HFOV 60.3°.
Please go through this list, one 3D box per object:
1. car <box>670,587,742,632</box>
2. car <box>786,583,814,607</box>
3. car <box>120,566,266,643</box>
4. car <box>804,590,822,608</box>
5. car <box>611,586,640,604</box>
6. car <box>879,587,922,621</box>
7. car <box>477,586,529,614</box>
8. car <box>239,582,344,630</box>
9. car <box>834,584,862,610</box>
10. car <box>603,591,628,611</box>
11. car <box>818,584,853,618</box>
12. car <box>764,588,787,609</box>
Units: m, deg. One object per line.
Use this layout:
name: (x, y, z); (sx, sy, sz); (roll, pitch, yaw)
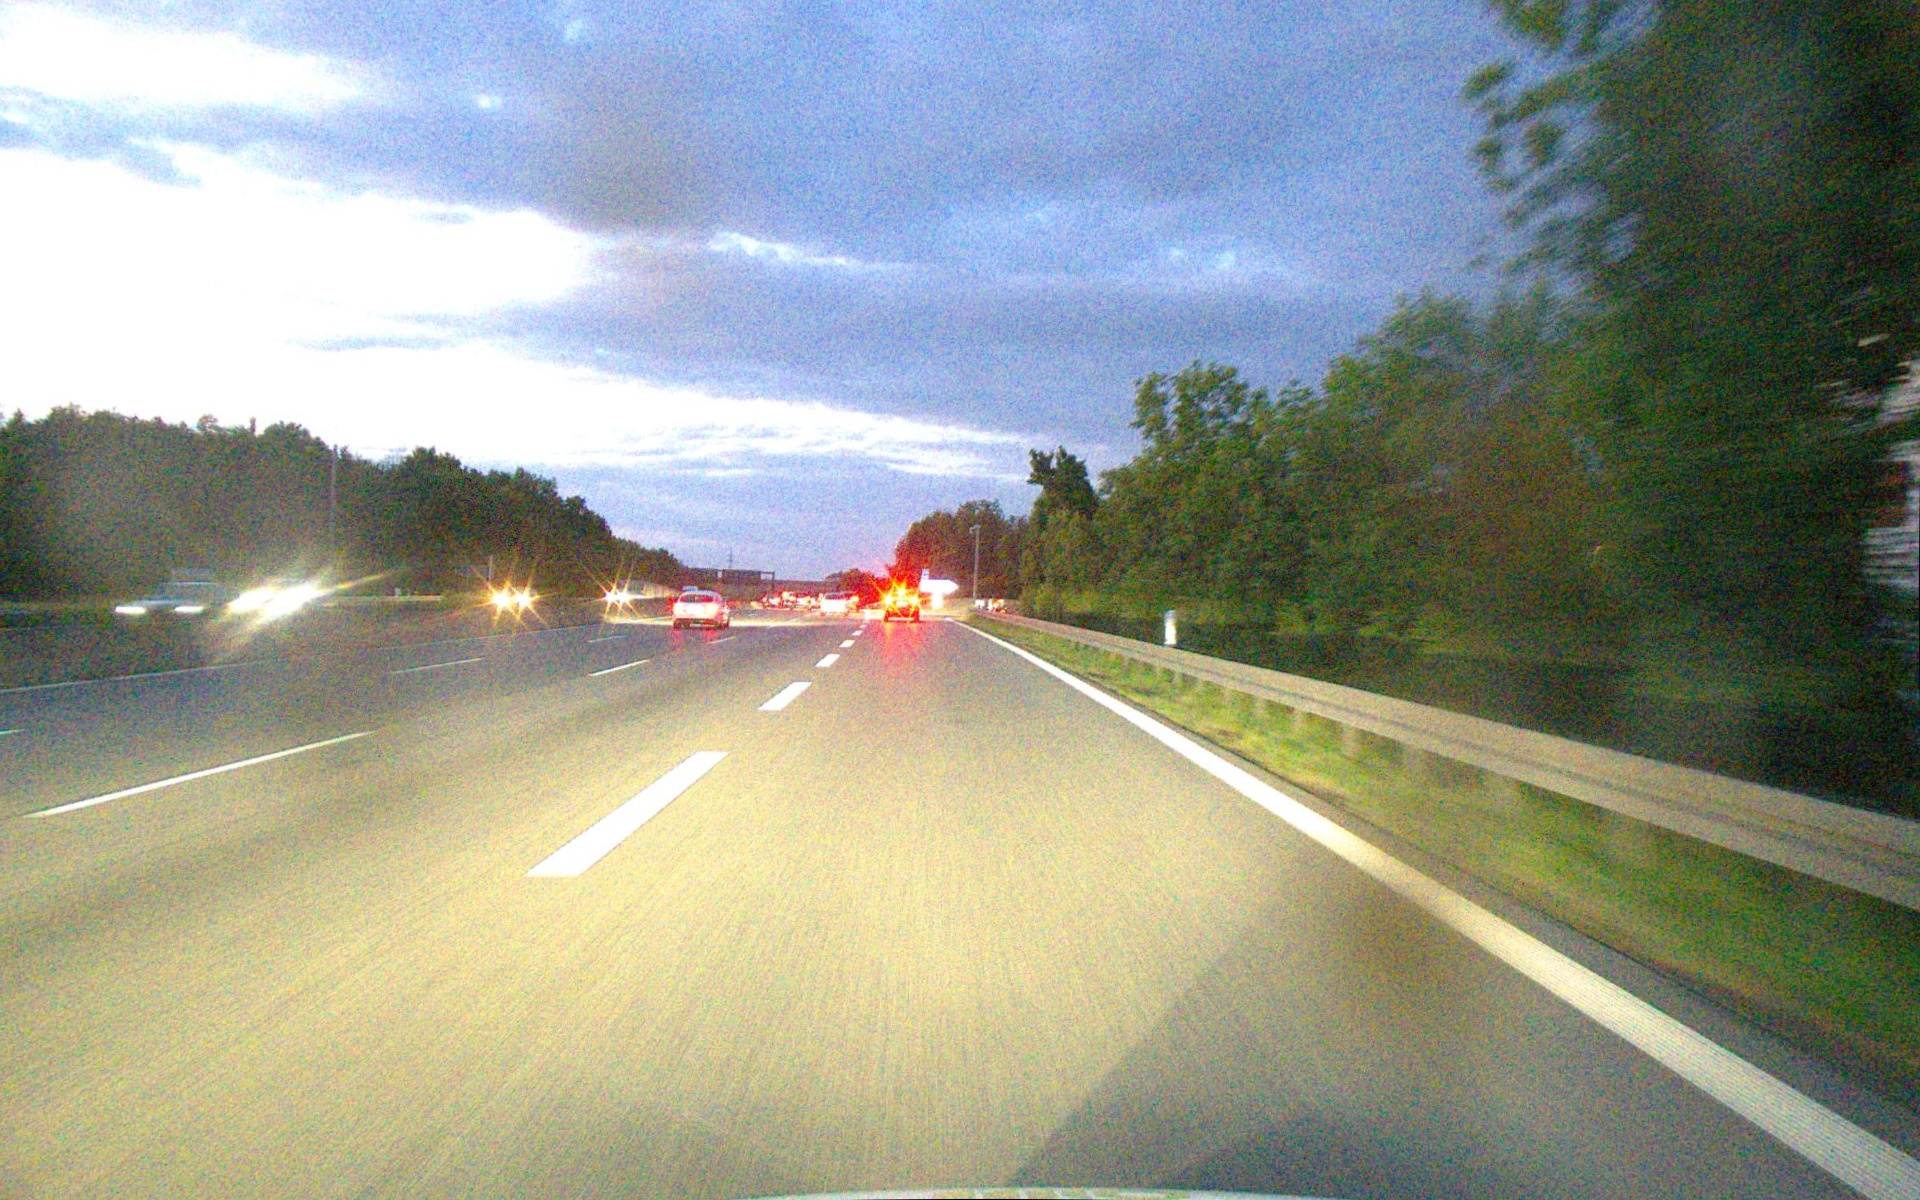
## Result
car: (-9.794, 0.353, 64.109); (1.952, 1.671, 4.556); (0, 0, 2)
car: (-13.809, -0.410, 142.710); (2.029, 2.049, 4.000); (0, 0, -1)
car: (-21.286, 0.109, 46.117); (1.953, 2.049, 4.488); (0, 0, 0)
car: (-16.599, -0.119, 186.341); (1.955, 2.049, 3.994); (1, 0, -7)
car: (-30.857, -0.441, 152.513); (1.953, 1.573, 3.998); (1, 0, -2)
car: (-3.056, 0.200, 84.673); (1.955, 1.688, 4.310); (1, 0, -5)
car: (-27.827, -0.022, 100.920); (1.953, 1.638, 4.558); (0, 0, -1)
car: (-24.745, 0.217, 61.419); (1.953, 1.694, 5.009); (0, 0, -2)
car: (-8.793, -0.249, 129.780); (1.953, 2.049, 3.999); (0, 0, -1)
car: (-35.510, 0.063, 170.369); (1.987, 2.049, 4.235); (1, 0, -5)
car: (-7.640, 0.072, 101.655); (1.953, 2.049, 3.999); (1, 0, -2)
car: (-18.358, -0.195, 164.651); (2.063, 2.049, 3.996); (-1, 0, -5)
